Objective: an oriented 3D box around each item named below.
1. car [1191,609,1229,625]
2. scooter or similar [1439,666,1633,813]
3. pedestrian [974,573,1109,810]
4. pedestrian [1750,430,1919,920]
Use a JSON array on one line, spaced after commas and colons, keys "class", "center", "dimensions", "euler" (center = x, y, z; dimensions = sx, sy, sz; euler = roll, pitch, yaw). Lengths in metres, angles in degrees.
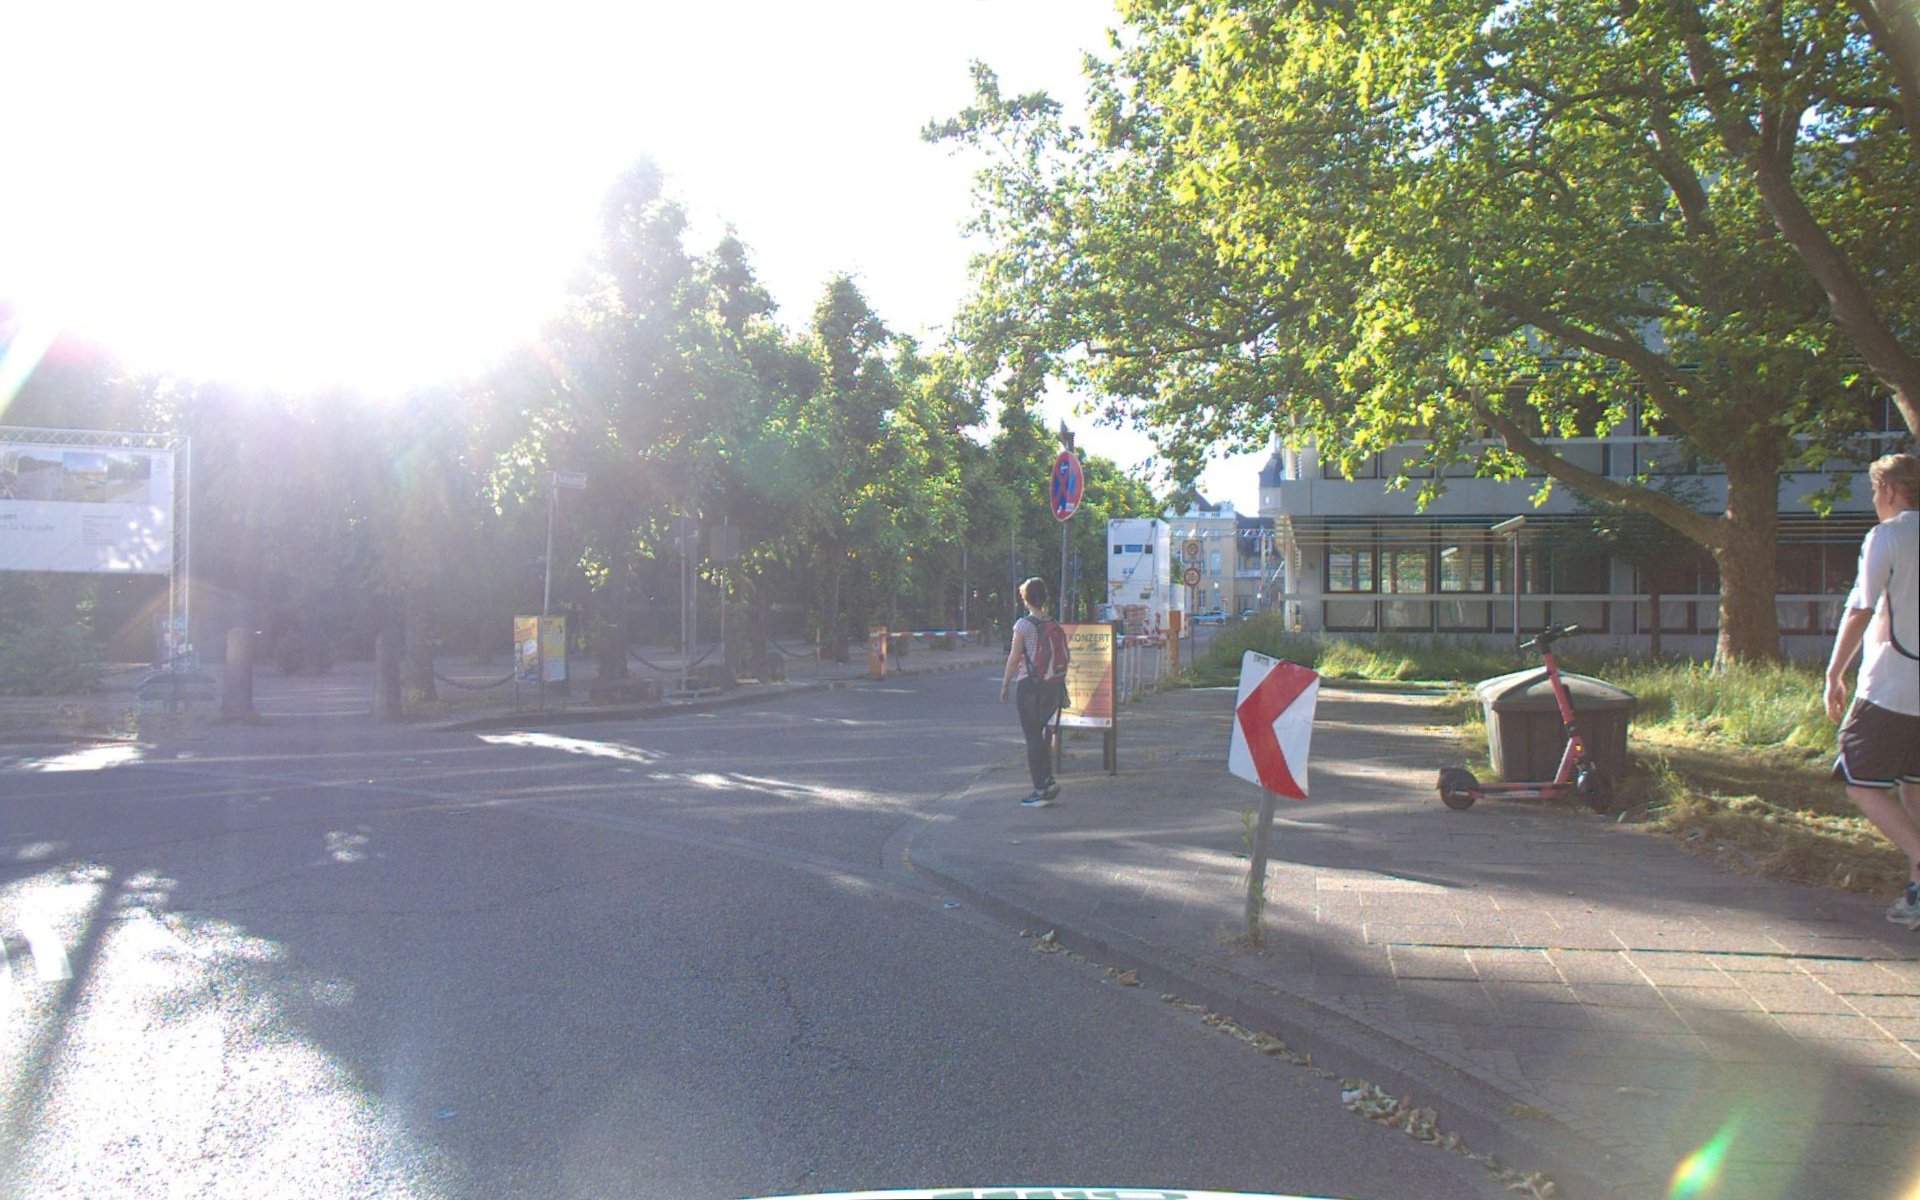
[{"class": "car", "center": [29.729, 1.990, 196.589], "dimensions": [4.460, 1.822, 2.002], "euler": [1, 0, 11]}, {"class": "scooter or similar", "center": [3.831, 0.923, 11.039], "dimensions": [1.122, 0.930, 0.420], "euler": [-2, -2, 4]}, {"class": "pedestrian", "center": [0.584, 0.648, 12.104], "dimensions": [0.697, 1.652, 0.934], "euler": [0, -1, -19]}, {"class": "pedestrian", "center": [3.927, 0.285, 6.761], "dimensions": [0.731, 1.844, 1.132], "euler": [2, 0, -7]}]
